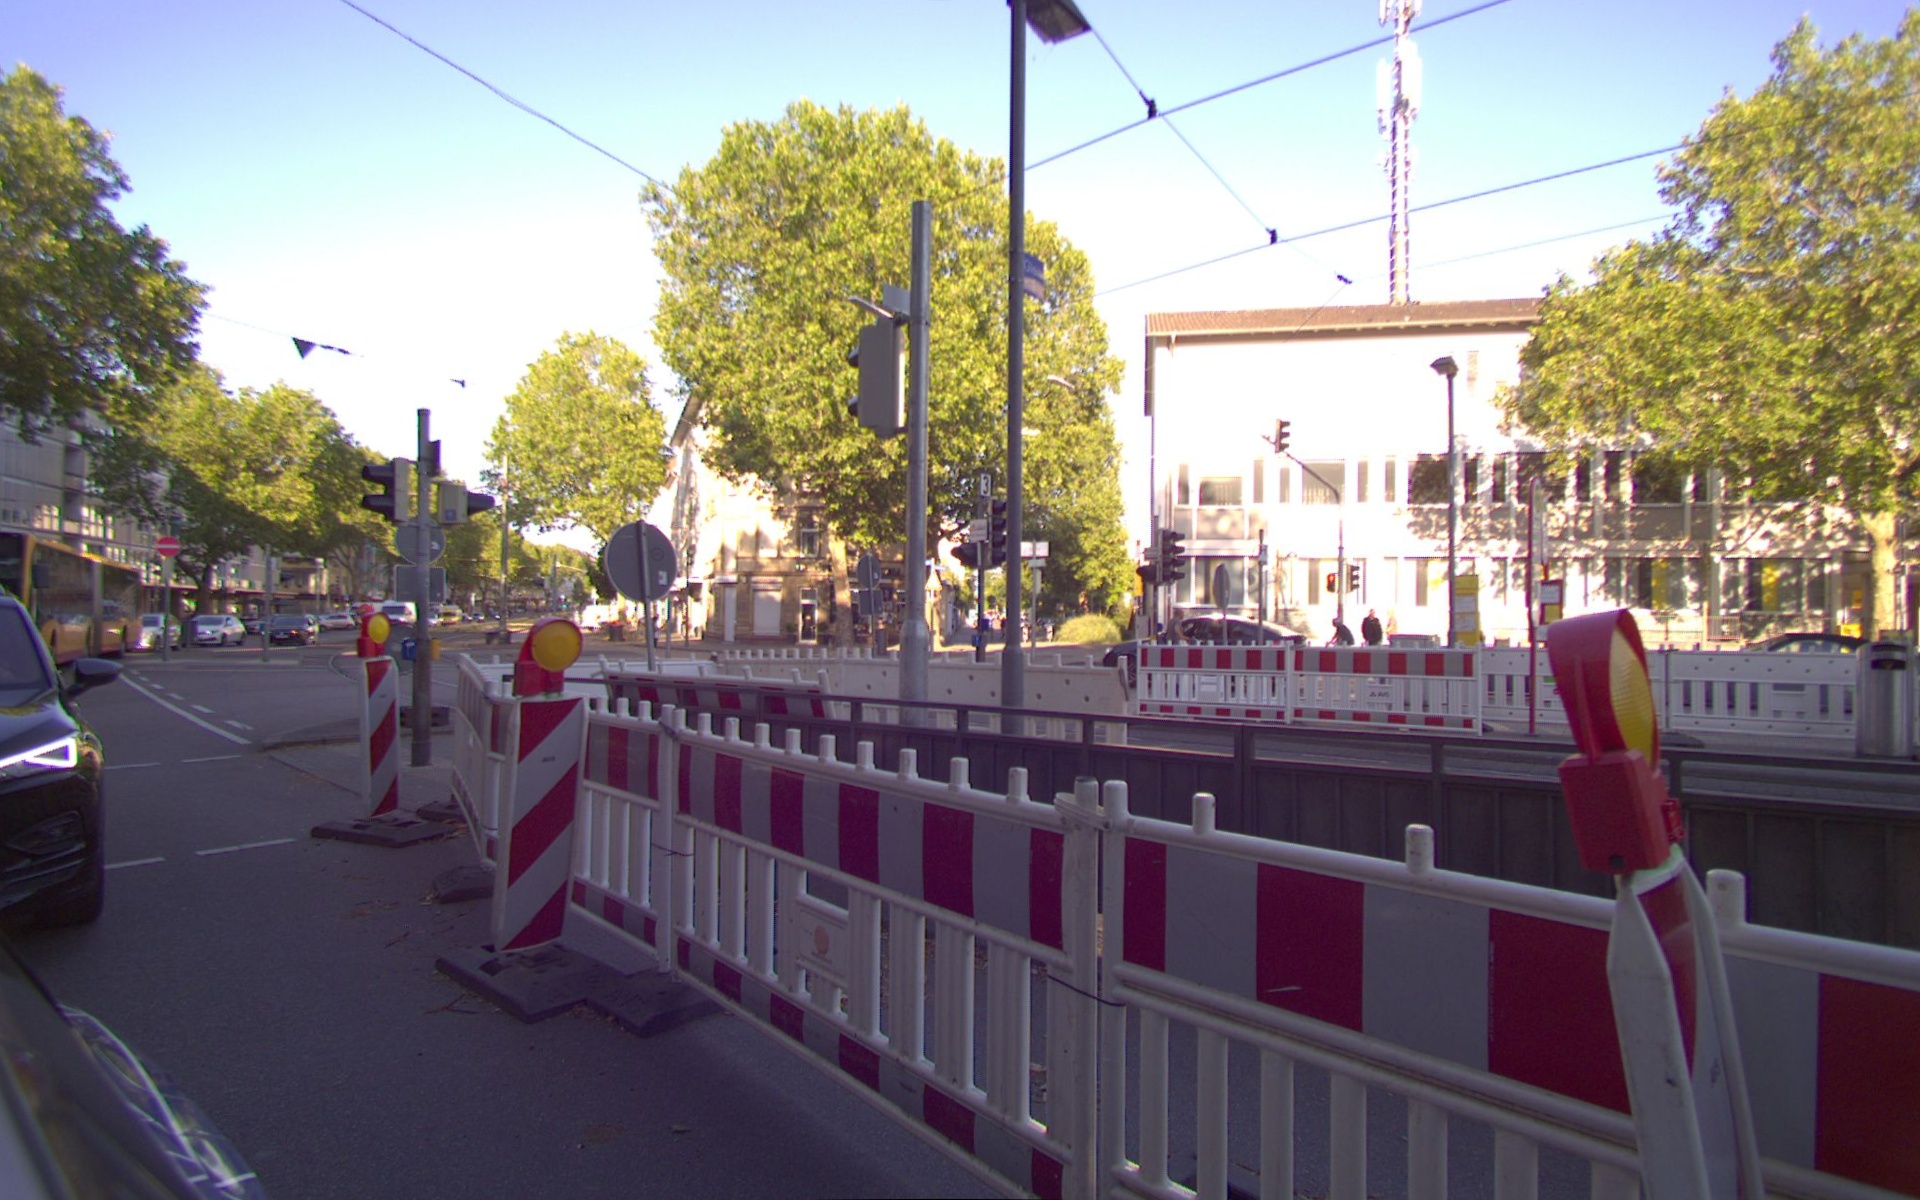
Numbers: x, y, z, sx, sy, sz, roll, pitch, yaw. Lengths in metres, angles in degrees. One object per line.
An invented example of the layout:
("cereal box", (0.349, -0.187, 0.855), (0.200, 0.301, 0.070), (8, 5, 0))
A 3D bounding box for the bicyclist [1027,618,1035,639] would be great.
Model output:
("bicyclist", (5.231, 2.107, 74.452), (0.568, 1.538, 0.845), (0, -1, 2))

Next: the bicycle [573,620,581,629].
("bicycle", (-48.885, 3.134, 129.136), (0.837, 1.202, 2.474), (1, -1, -21))

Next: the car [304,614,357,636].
("car", (-58.535, 2.326, 94.126), (3.938, 2.029, 2.002), (1, -2, -42))

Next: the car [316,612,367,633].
("car", (-60.262, 2.200, 98.575), (3.938, 2.029, 2.002), (1, -2, -42))

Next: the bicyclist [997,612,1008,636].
("bicyclist", (3.172, 1.796, 76.211), (0.668, 1.741, 0.761), (0, -2, 17))

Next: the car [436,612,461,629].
("car", (-55.816, 2.256, 110.510), (1.809, 1.816, 4.143), (1, -2, -19))

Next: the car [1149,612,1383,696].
("car", (6.640, 1.111, 22.204), (4.552, 1.674, 1.974), (-1, -2, 38))

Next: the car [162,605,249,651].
("car", (-34.942, 1.306, 47.012), (1.966, 2.029, 4.012), (1, -1, -17))

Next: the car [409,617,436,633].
("car", (-50.956, 2.336, 96.006), (1.675, 1.481, 3.776), (1, -1, -19))

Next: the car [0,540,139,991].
("car", (-5.498, 0.642, 4.805), (3.998, 1.719, 1.818), (-1, -2, 41))

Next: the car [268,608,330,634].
("car", (-54.070, 1.728, 82.804), (3.938, 2.029, 2.002), (1, -2, -42))

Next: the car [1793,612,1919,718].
("car", (16.088, 1.035, 16.335), (3.994, 1.674, 1.974), (-1, -2, 38))

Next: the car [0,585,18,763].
("car", (-11.048, 0.691, 10.111), (4.073, 1.656, 1.973), (-1, -2, 41))

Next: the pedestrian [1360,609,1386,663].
("pedestrian", (12.083, 1.058, 29.616), (0.649, 1.564, 0.563), (-1, -2, 28))

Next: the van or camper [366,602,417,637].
("van or camper", (-46.329, 1.626, 82.667), (2.385, 2.739, 6.151), (1, -1, -18))

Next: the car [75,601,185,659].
("car", (-30.931, 1.105, 37.886), (1.965, 2.029, 4.111), (1, -1, -21))

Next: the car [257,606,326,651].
("car", (-31.688, 1.330, 48.105), (1.965, 2.029, 4.013), (1, -1, -22))

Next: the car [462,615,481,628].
("car", (-64.755, 2.860, 134.225), (1.809, 1.816, 4.143), (1, -2, -19))

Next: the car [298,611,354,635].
("car", (-56.121, 2.048, 89.612), (3.938, 2.029, 2.002), (1, -2, -42))

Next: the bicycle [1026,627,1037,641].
("bicycle", (5.258, 2.488, 74.269), (0.669, 1.039, 2.189), (1, -1, 1))

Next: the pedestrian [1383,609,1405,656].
("pedestrian", (13.654, 1.017, 31.853), (0.581, 1.466, 0.582), (0, -2, 21))

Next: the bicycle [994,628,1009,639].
("bicycle", (3.133, 2.527, 76.081), (0.676, 0.788, 1.979), (0, -1, 17))

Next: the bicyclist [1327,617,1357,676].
("bicyclist", (10.723, 1.296, 28.399), (0.643, 1.626, 0.544), (-1, -2, 41))

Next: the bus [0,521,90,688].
("bus", (-21.172, 0.136, 22.020), (2.678, 3.130, 8.641), (1, -2, -36))

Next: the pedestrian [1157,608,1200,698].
("pedestrian", (4.368, 1.041, 20.250), (0.545, 1.760, 0.693), (1, -2, -24))

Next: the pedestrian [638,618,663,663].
("pedestrian", (-10.687, 1.387, 34.909), (0.594, 1.545, 0.746), (1, -2, -37))

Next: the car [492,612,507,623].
("car", (-76.120, 2.866, 167.449), (1.809, 1.816, 4.143), (1, -2, -19))

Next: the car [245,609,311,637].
("car", (-50.534, 1.695, 75.050), (3.932, 2.029, 2.006), (1, -2, -31))

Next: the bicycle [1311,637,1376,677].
("bicycle", (10.738, 1.592, 28.378), (1.621, 1.073, 0.543), (-1, -2, 41))

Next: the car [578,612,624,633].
("car", (-34.424, 2.150, 97.135), (1.990, 2.029, 3.963), (0, -2, 27))

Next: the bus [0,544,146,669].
("bus", (-26.058, 0.236, 29.249), (2.676, 3.130, 8.622), (1, -2, -31))
